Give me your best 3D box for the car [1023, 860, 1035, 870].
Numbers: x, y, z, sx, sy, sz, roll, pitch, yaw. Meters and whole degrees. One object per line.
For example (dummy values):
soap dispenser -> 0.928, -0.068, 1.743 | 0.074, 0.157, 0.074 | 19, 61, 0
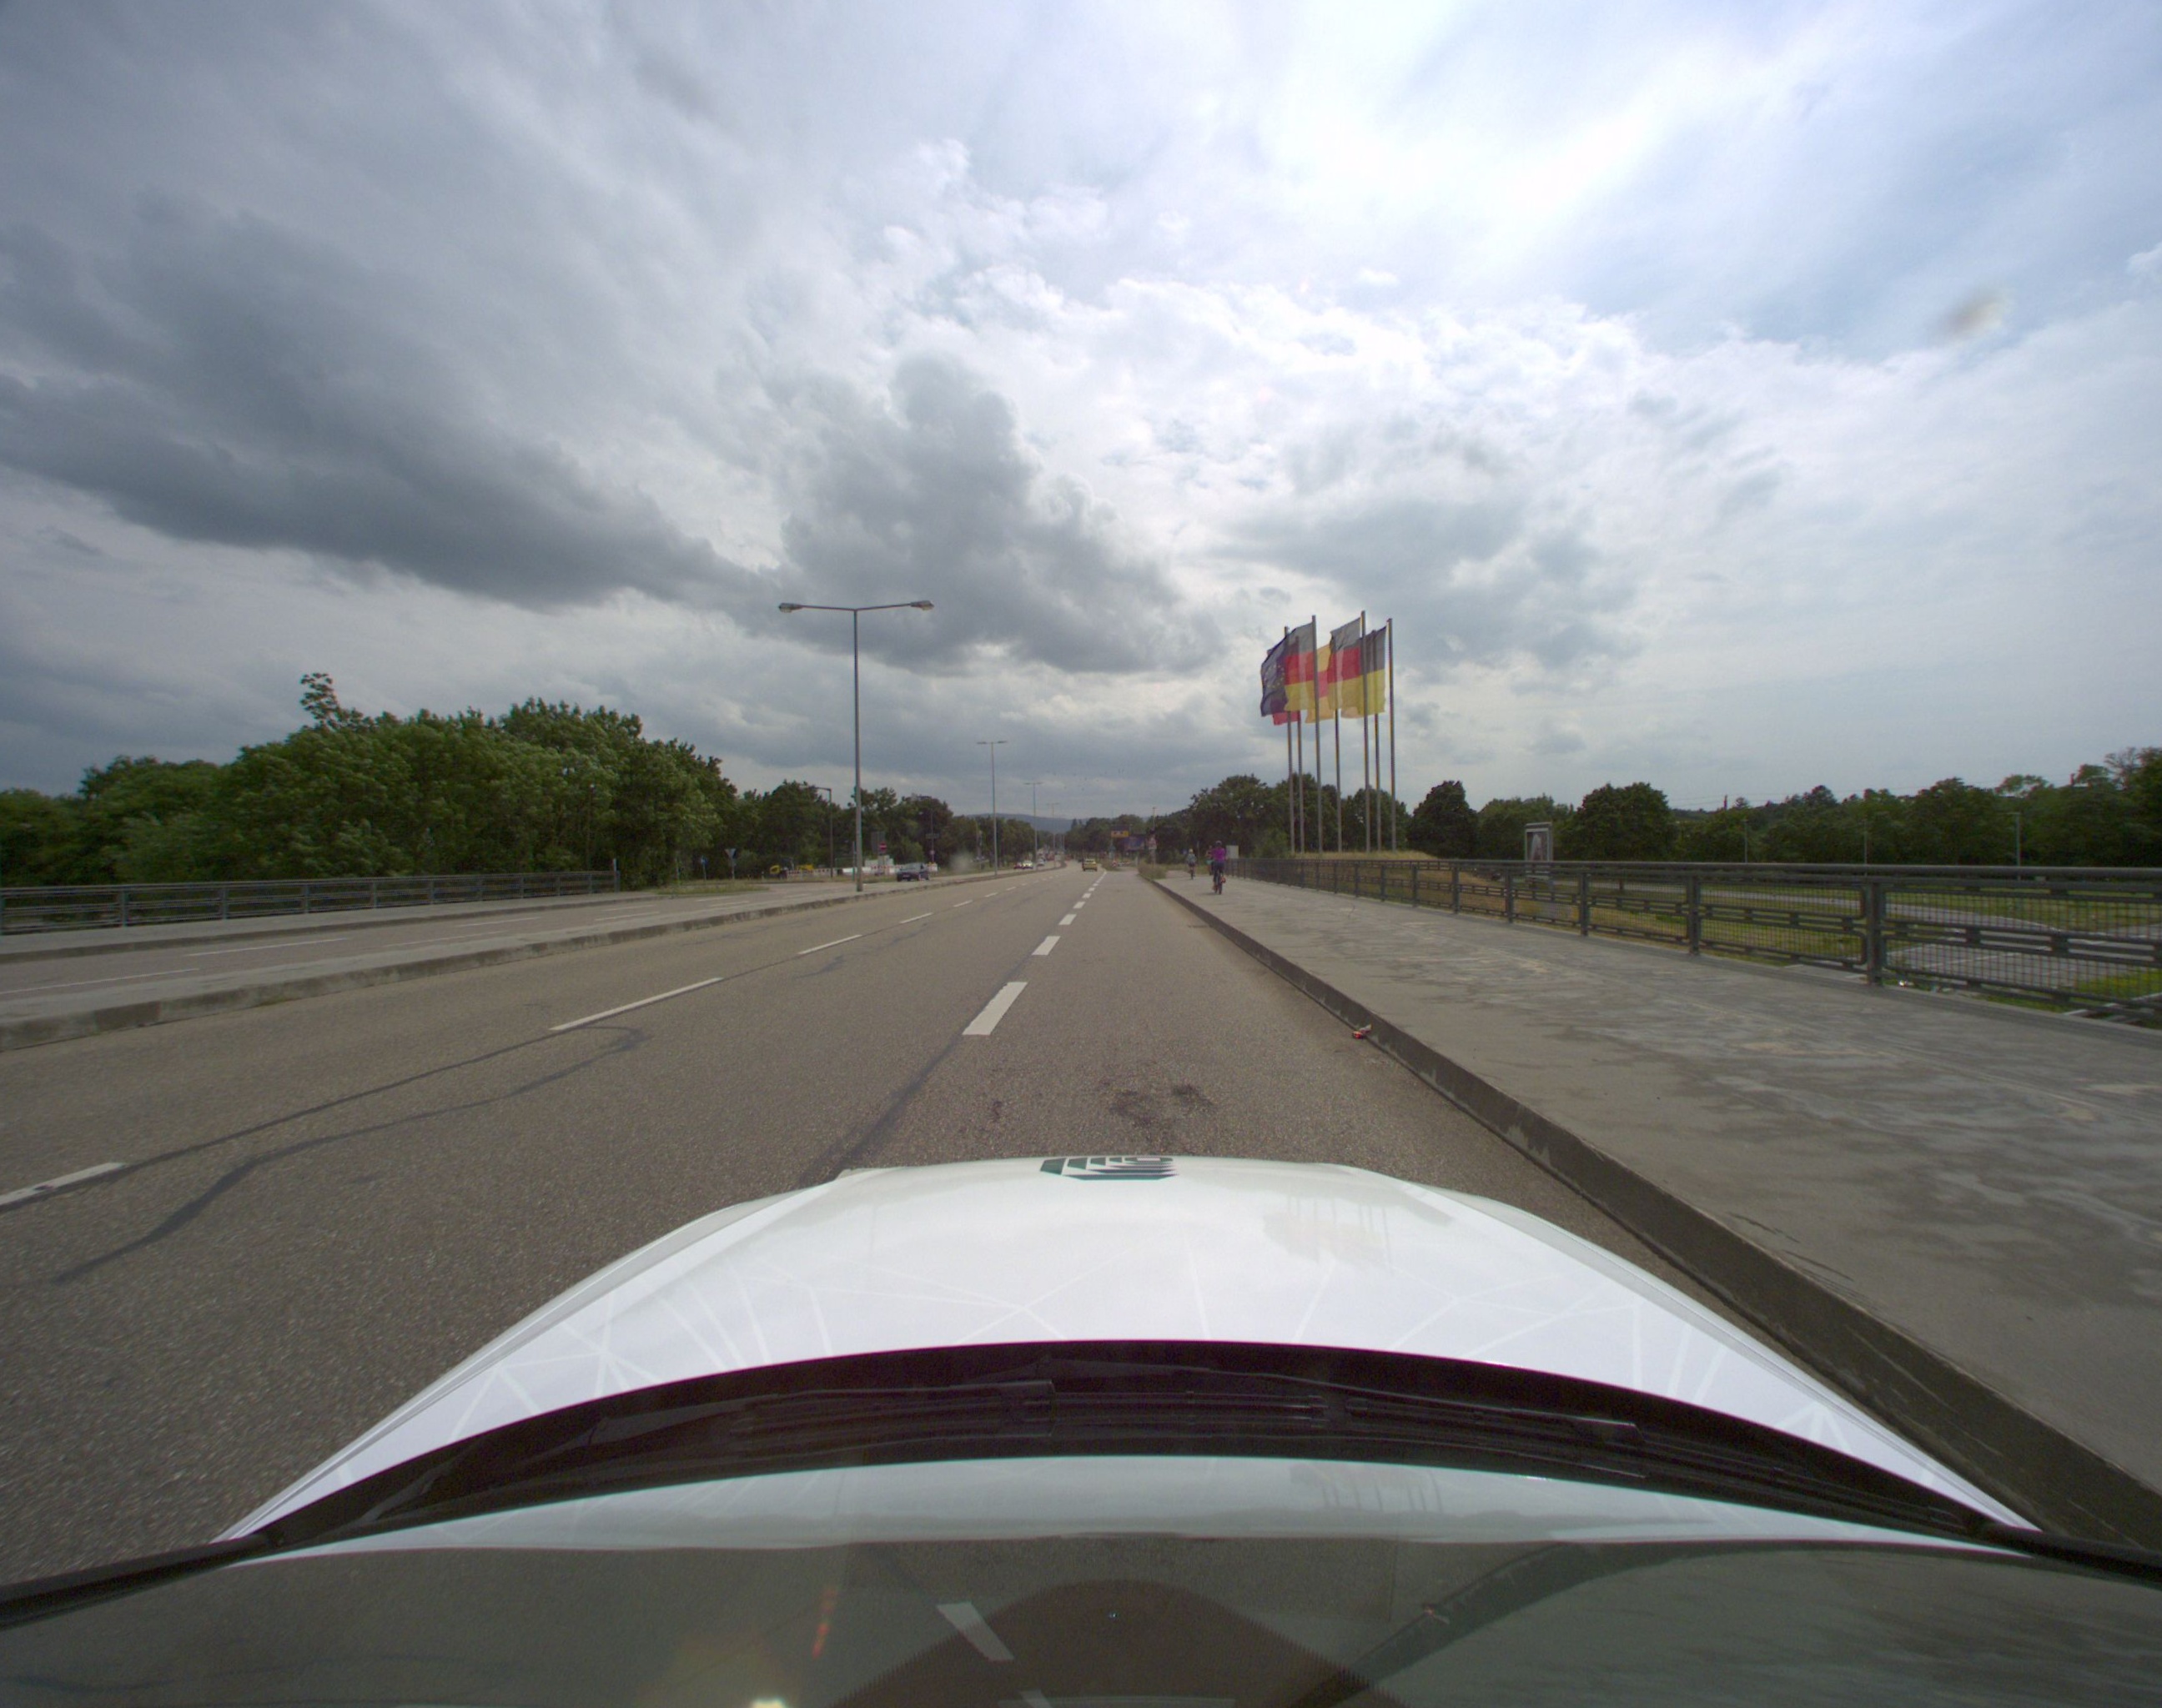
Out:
car -> -9.703, 2.084, 152.426 | 1.688, 1.629, 4.386 | -1, 1, 2

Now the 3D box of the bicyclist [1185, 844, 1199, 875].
bicyclist -> 6.119, 0.299, 44.864 | 0.619, 1.666, 0.669 | -1, 0, 0

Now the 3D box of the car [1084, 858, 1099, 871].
car -> 1.297, 1.353, 103.429 | 1.788, 1.562, 3.999 | -1, 1, -1

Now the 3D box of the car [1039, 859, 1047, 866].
car -> -9.975, 2.205, 212.634 | 1.896, 1.809, 4.540 | -1, 1, 1

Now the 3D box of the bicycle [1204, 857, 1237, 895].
bicycle -> 4.721, 0.704, 27.718 | 0.691, 1.192, 2.461 | -2, 0, 0

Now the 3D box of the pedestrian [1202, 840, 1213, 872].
pedestrian -> 7.998, 0.124, 51.478 | 0.625, 2.013, 0.668 | -1, 0, 2

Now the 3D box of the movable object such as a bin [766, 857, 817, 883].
movable object such as a bin -> -29.405, 1.607, 82.882 | 4.577, 2.397, 1.994 | -1, 1, -9

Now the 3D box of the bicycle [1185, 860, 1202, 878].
bicycle -> 6.120, 0.795, 44.382 | 0.621, 0.888, 2.154 | -1, 1, 0

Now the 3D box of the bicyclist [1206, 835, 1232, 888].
bicyclist -> 4.680, 0.232, 27.661 | 0.701, 1.755, 0.991 | -1, 0, 0

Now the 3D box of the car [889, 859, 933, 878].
car -> -13.115, 1.090, 63.123 | 1.984, 1.373, 4.584 | -2, -1, 6

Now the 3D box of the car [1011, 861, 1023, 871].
car -> -13.508, 2.518, 171.568 | 1.986, 1.882, 4.002 | 3, -1, 2
